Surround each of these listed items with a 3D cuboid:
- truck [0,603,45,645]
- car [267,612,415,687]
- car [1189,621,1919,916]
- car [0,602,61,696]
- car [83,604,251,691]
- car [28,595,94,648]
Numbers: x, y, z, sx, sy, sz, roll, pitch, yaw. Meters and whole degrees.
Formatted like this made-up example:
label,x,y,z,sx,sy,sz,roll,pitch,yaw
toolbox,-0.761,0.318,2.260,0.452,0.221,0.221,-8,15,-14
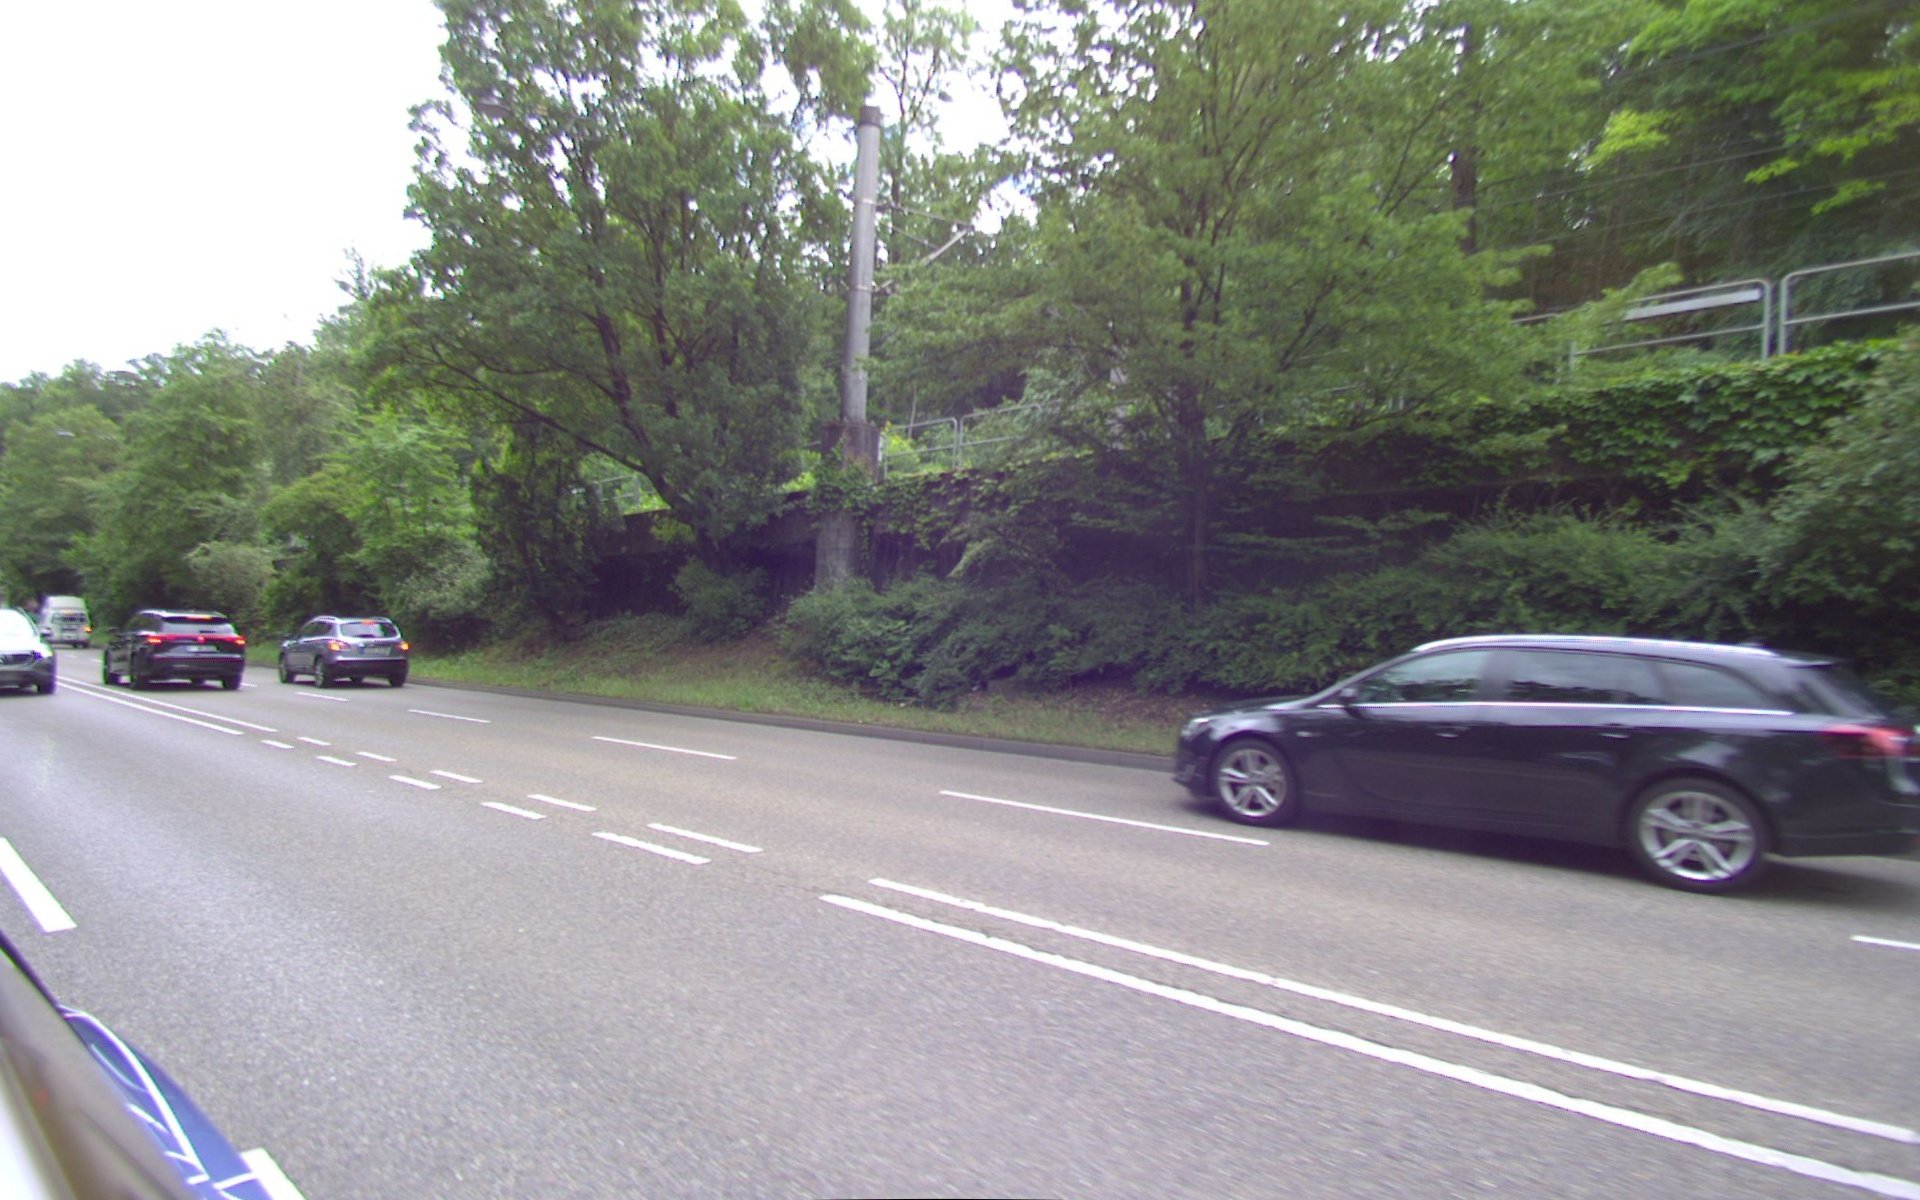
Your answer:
label,x,y,z,sx,sy,sz,roll,pitch,yaw
truck,-59.239,1.466,63.371,6.465,2.429,2.153,-1,-4,43
car,-14.655,1.127,23.876,4.188,1.624,1.772,-1,-3,42
car,4.082,0.912,7.036,4.528,1.479,1.893,-1,-3,42
car,-18.874,0.897,19.472,4.190,1.675,1.847,-1,-1,41
car,-17.184,0.970,21.840,4.825,1.674,1.792,0,-3,40
car,-46.564,1.123,52.401,4.913,2.575,1.867,-1,-4,42
